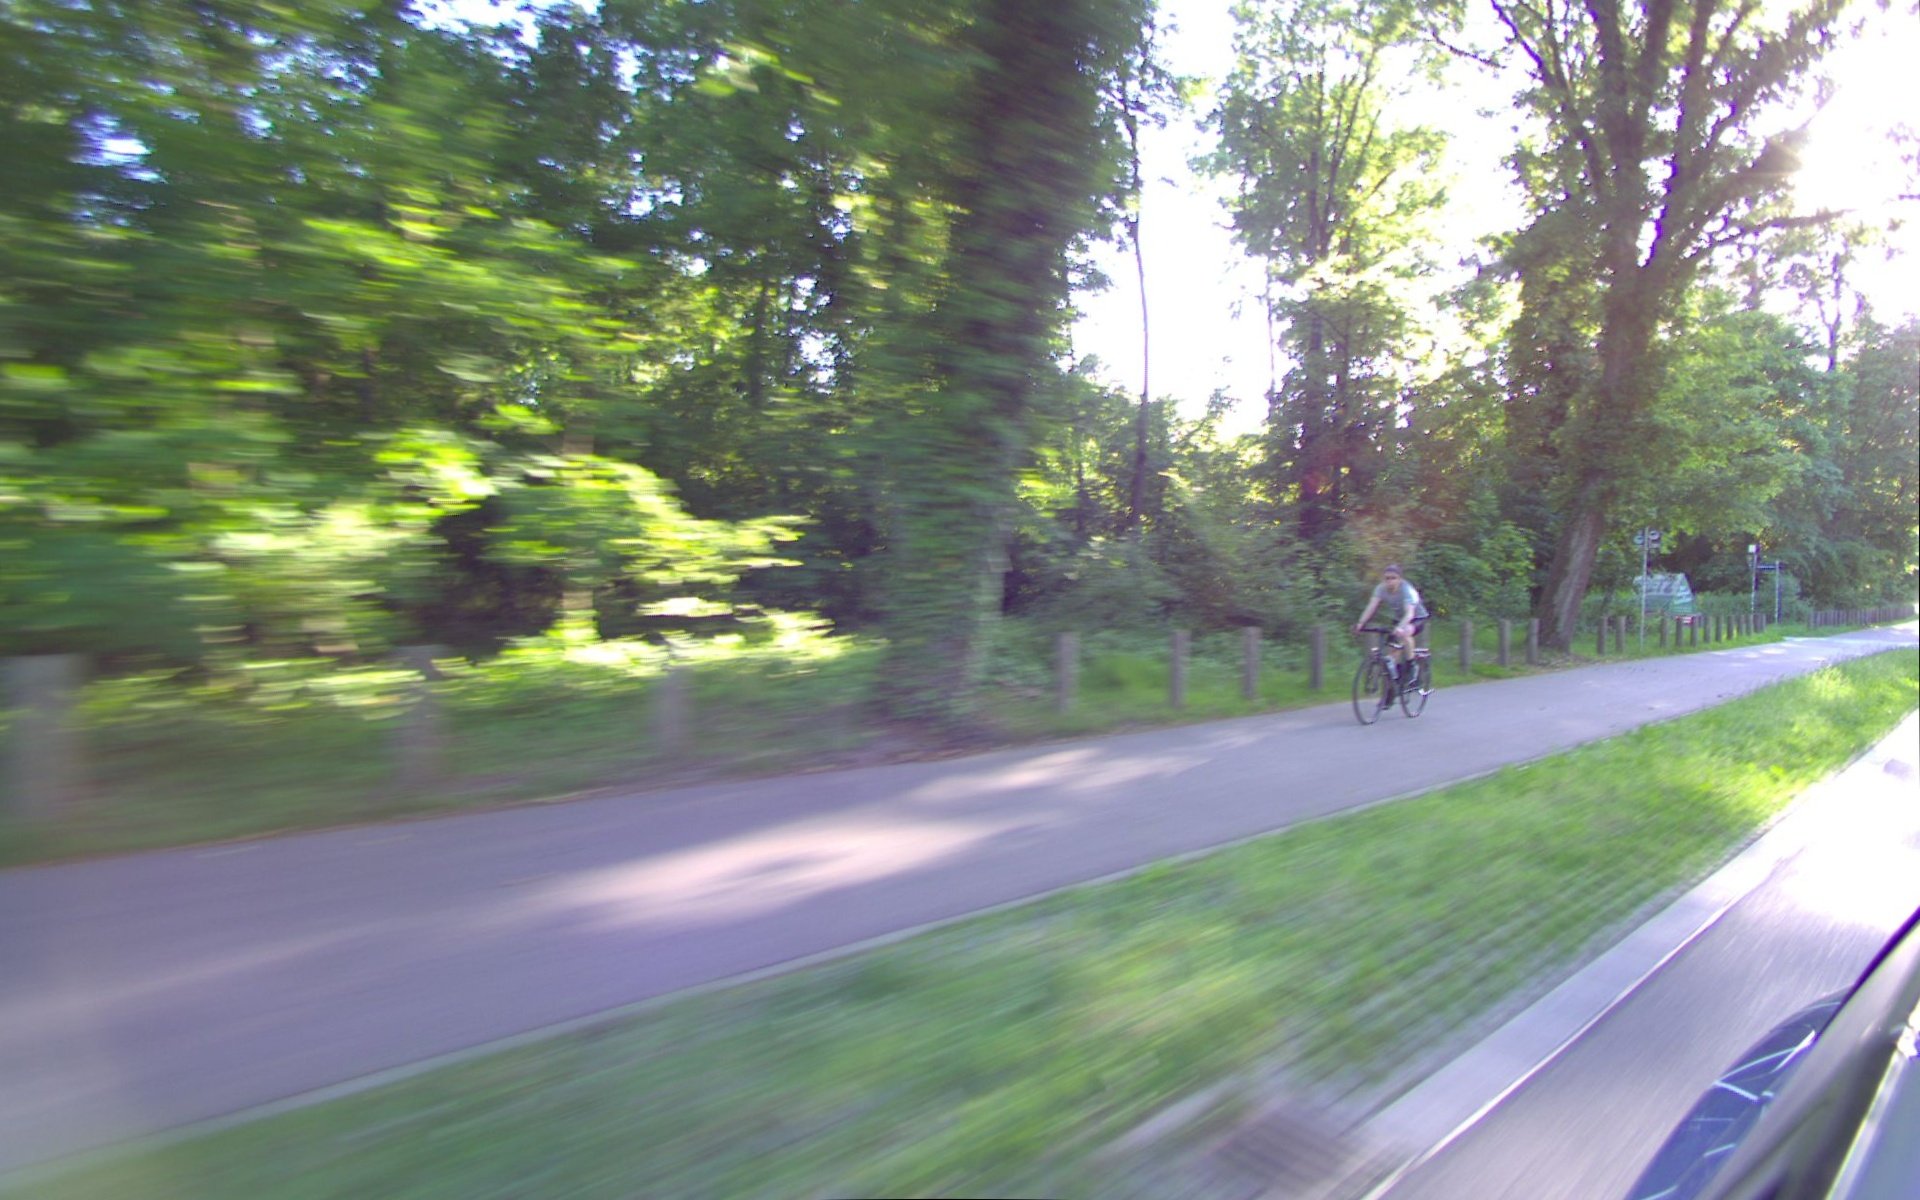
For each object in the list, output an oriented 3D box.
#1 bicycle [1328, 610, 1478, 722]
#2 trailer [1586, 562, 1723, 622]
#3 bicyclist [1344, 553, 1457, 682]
[{"bbox_3d":[4.818,0.661,10.936,2.018,1.069,0.713,0,1,-42],"label":"bicycle"},{"bbox_3d":[25.427,-0.349,37.240,1.961,2.046,4.230,1,2,-2],"label":"trailer"},{"bbox_3d":[4.724,0.163,10.842,1.085,1.305,0.713,0,1,-42],"label":"bicyclist"}]
